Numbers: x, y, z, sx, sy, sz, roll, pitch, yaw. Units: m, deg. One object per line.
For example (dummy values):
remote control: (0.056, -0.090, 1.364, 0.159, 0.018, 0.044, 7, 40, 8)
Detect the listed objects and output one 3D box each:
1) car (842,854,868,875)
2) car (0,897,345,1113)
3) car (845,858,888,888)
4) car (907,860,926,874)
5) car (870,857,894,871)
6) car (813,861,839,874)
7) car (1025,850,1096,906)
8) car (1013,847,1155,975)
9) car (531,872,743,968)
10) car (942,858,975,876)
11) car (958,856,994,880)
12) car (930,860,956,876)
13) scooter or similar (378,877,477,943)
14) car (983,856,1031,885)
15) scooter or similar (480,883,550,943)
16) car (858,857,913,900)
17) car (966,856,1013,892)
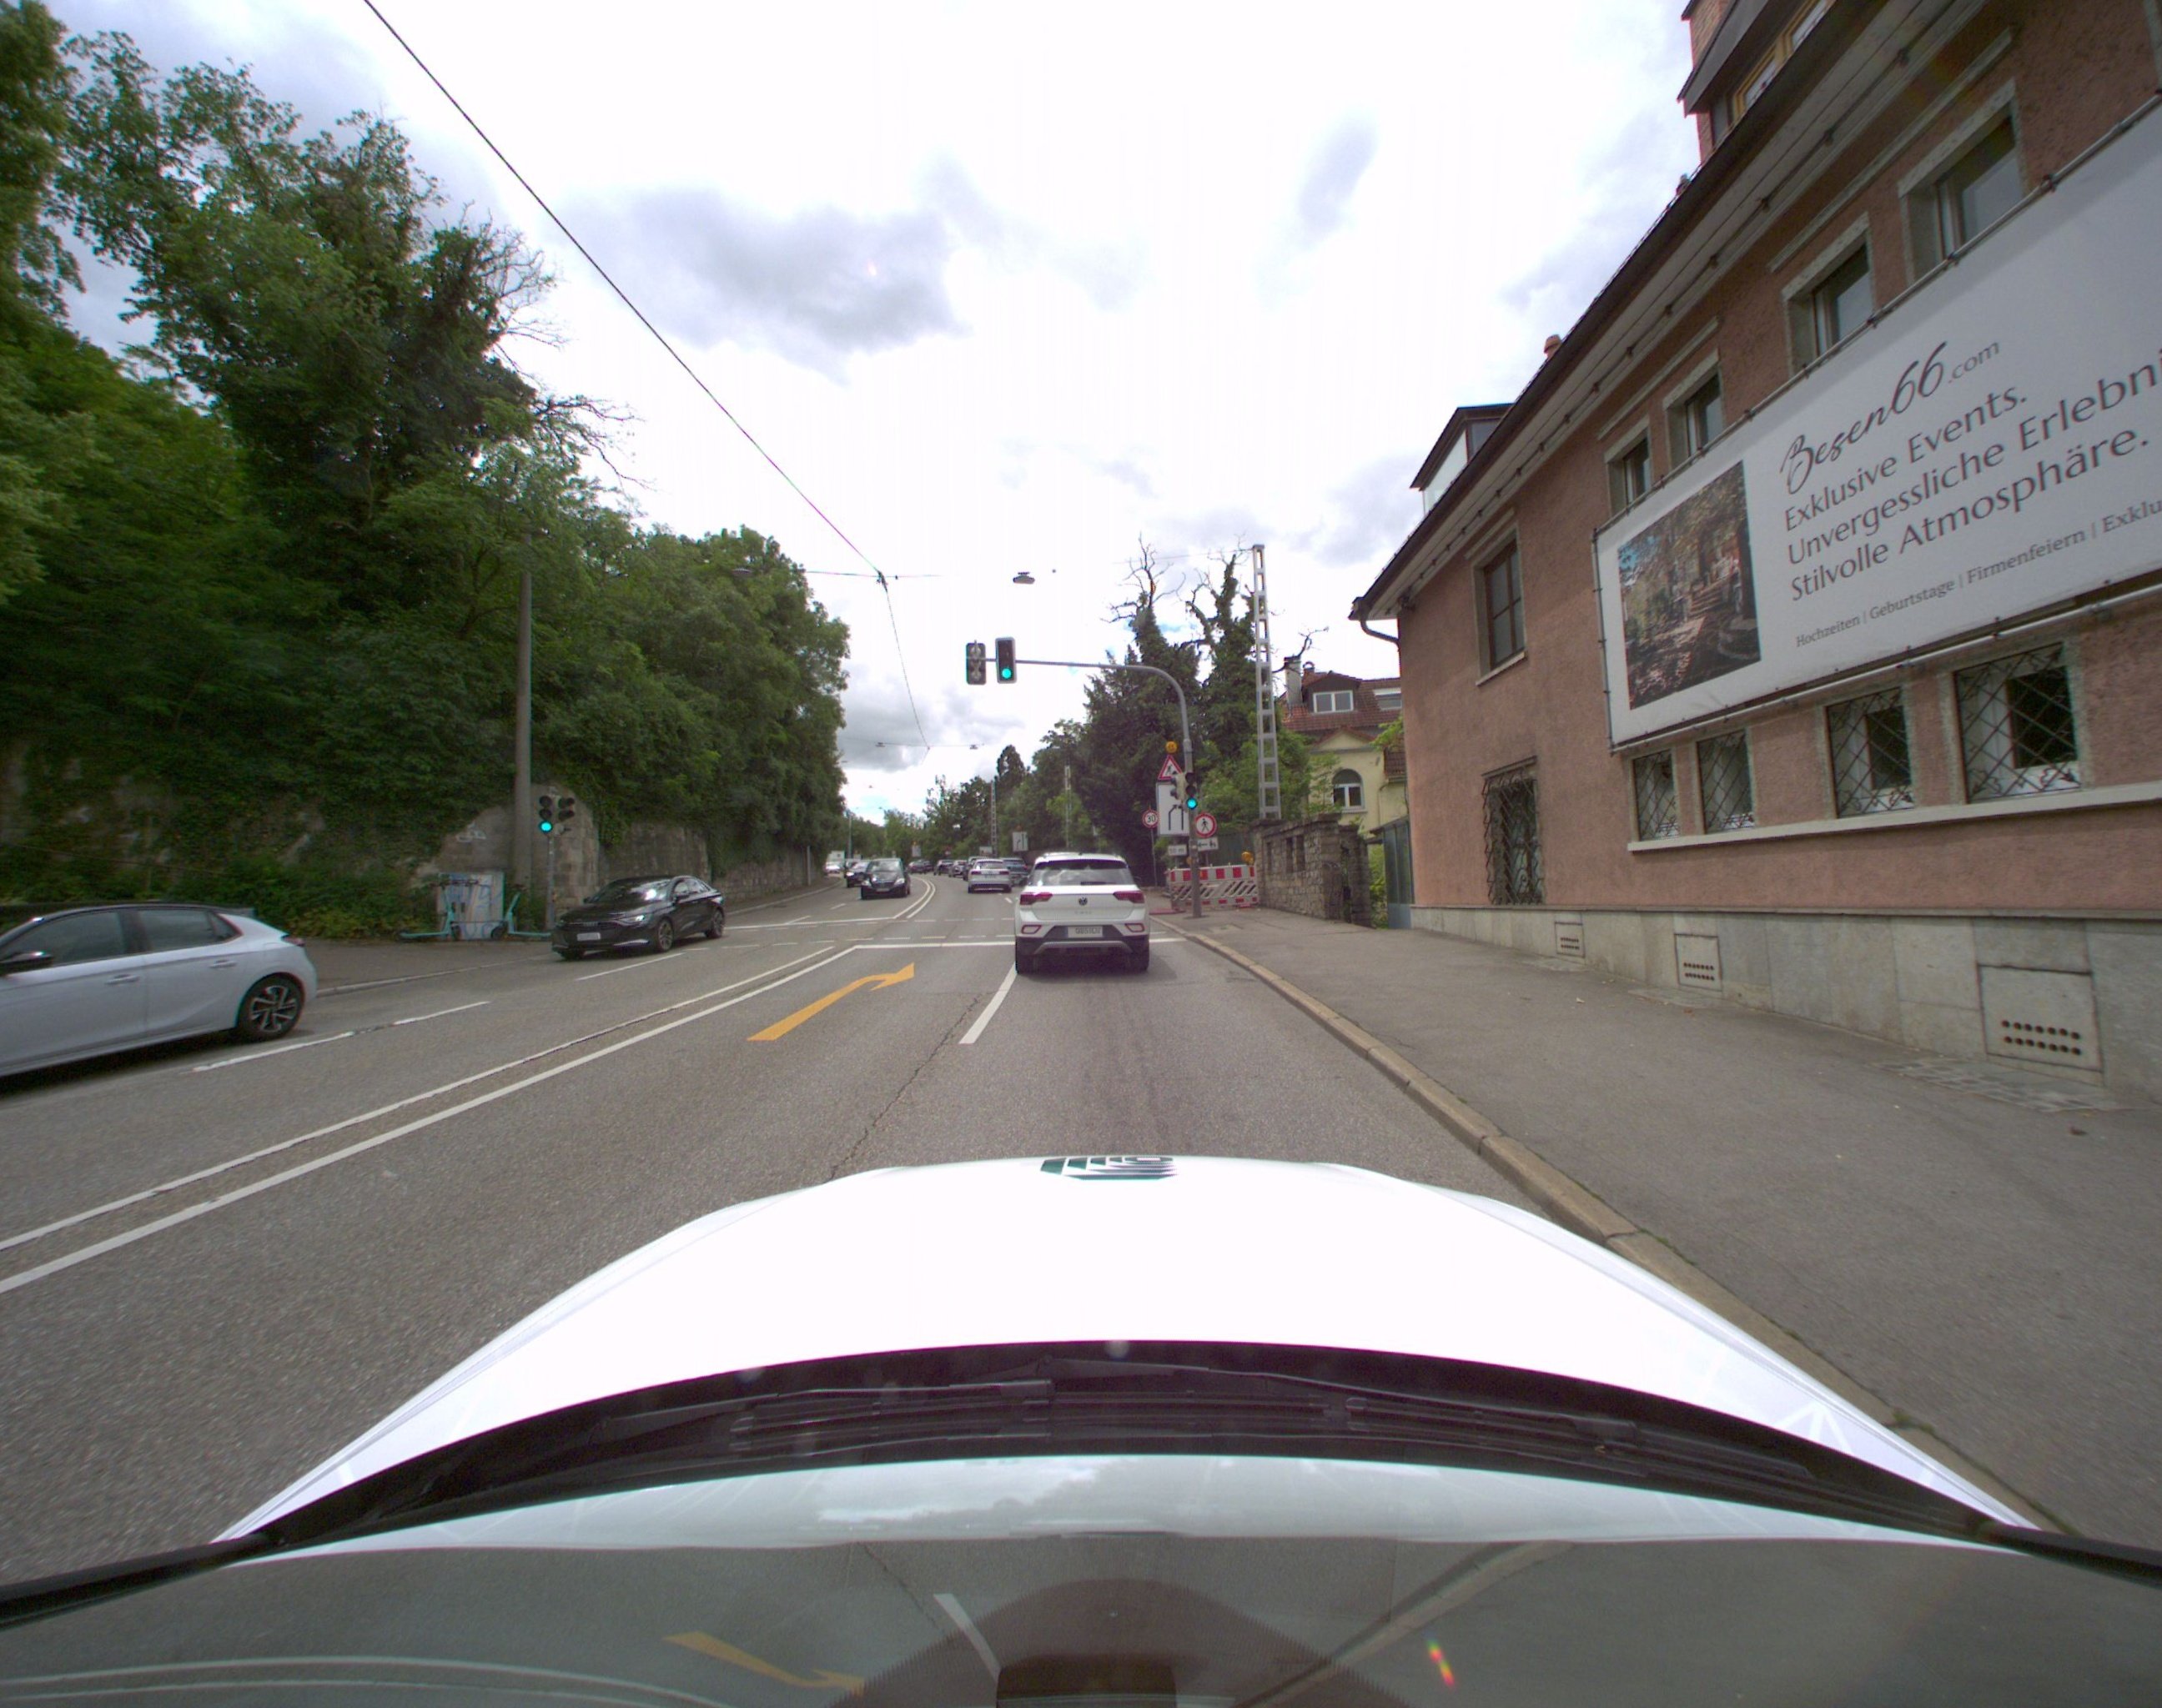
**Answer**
car: (-21.758, 0.983, 78.404, 1.742, 1.845, 4.238, -2, 0, -8)
car: (-8.693, 1.205, 6.637, 1.711, 1.403, 4.021, -3, 0, -1)
car: (-13.131, 1.124, 50.074, 1.993, 1.607, 4.463, -4, 0, -8)
car: (-18.650, 1.490, 92.394, 1.784, 1.454, 3.978, -1, -1, -16)
car: (-26.608, 1.326, 108.891, 1.854, 1.699, 3.958, -2, 0, -33)
car: (-33.102, 1.725, 105.550, 1.797, 1.466, 4.053, -3, 0, -38)
car: (-0.709, 0.708, 25.377, 1.757, 1.609, 3.783, 0, -1, -9)
car: (-0.046, 0.728, 11.953, 1.753, 1.556, 3.791, 0, -1, -3)
car: (-8.361, 1.158, 15.876, 1.678, 1.418, 4.426, -3, 0, -1)
car: (-10.087, 1.082, 66.963, 1.999, 1.450, 4.125, -1, -1, -18)
car: (-7.215, 0.904, 55.644, 1.996, 1.556, 4.132, -1, 0, -13)
car: (-13.070, 1.320, 77.210, 1.997, 1.450, 4.128, -1, -1, -16)
scooter or similar: (-13.136, 1.145, 16.405, 0.429, 1.238, 1.358, 2, -5, 36)
car: (-4.083, 0.912, 44.366, 1.996, 1.414, 4.131, -2, -1, -13)
scooter or similar: (-12.186, 1.254, 17.552, 0.429, 1.237, 1.104, 1, -2, 43)
car: (-7.938, 0.963, 33.335, 1.753, 1.566, 3.669, -3, 0, -8)
car: (-4.053, 0.850, 35.630, 1.758, 1.471, 3.781, 0, -1, -11)
